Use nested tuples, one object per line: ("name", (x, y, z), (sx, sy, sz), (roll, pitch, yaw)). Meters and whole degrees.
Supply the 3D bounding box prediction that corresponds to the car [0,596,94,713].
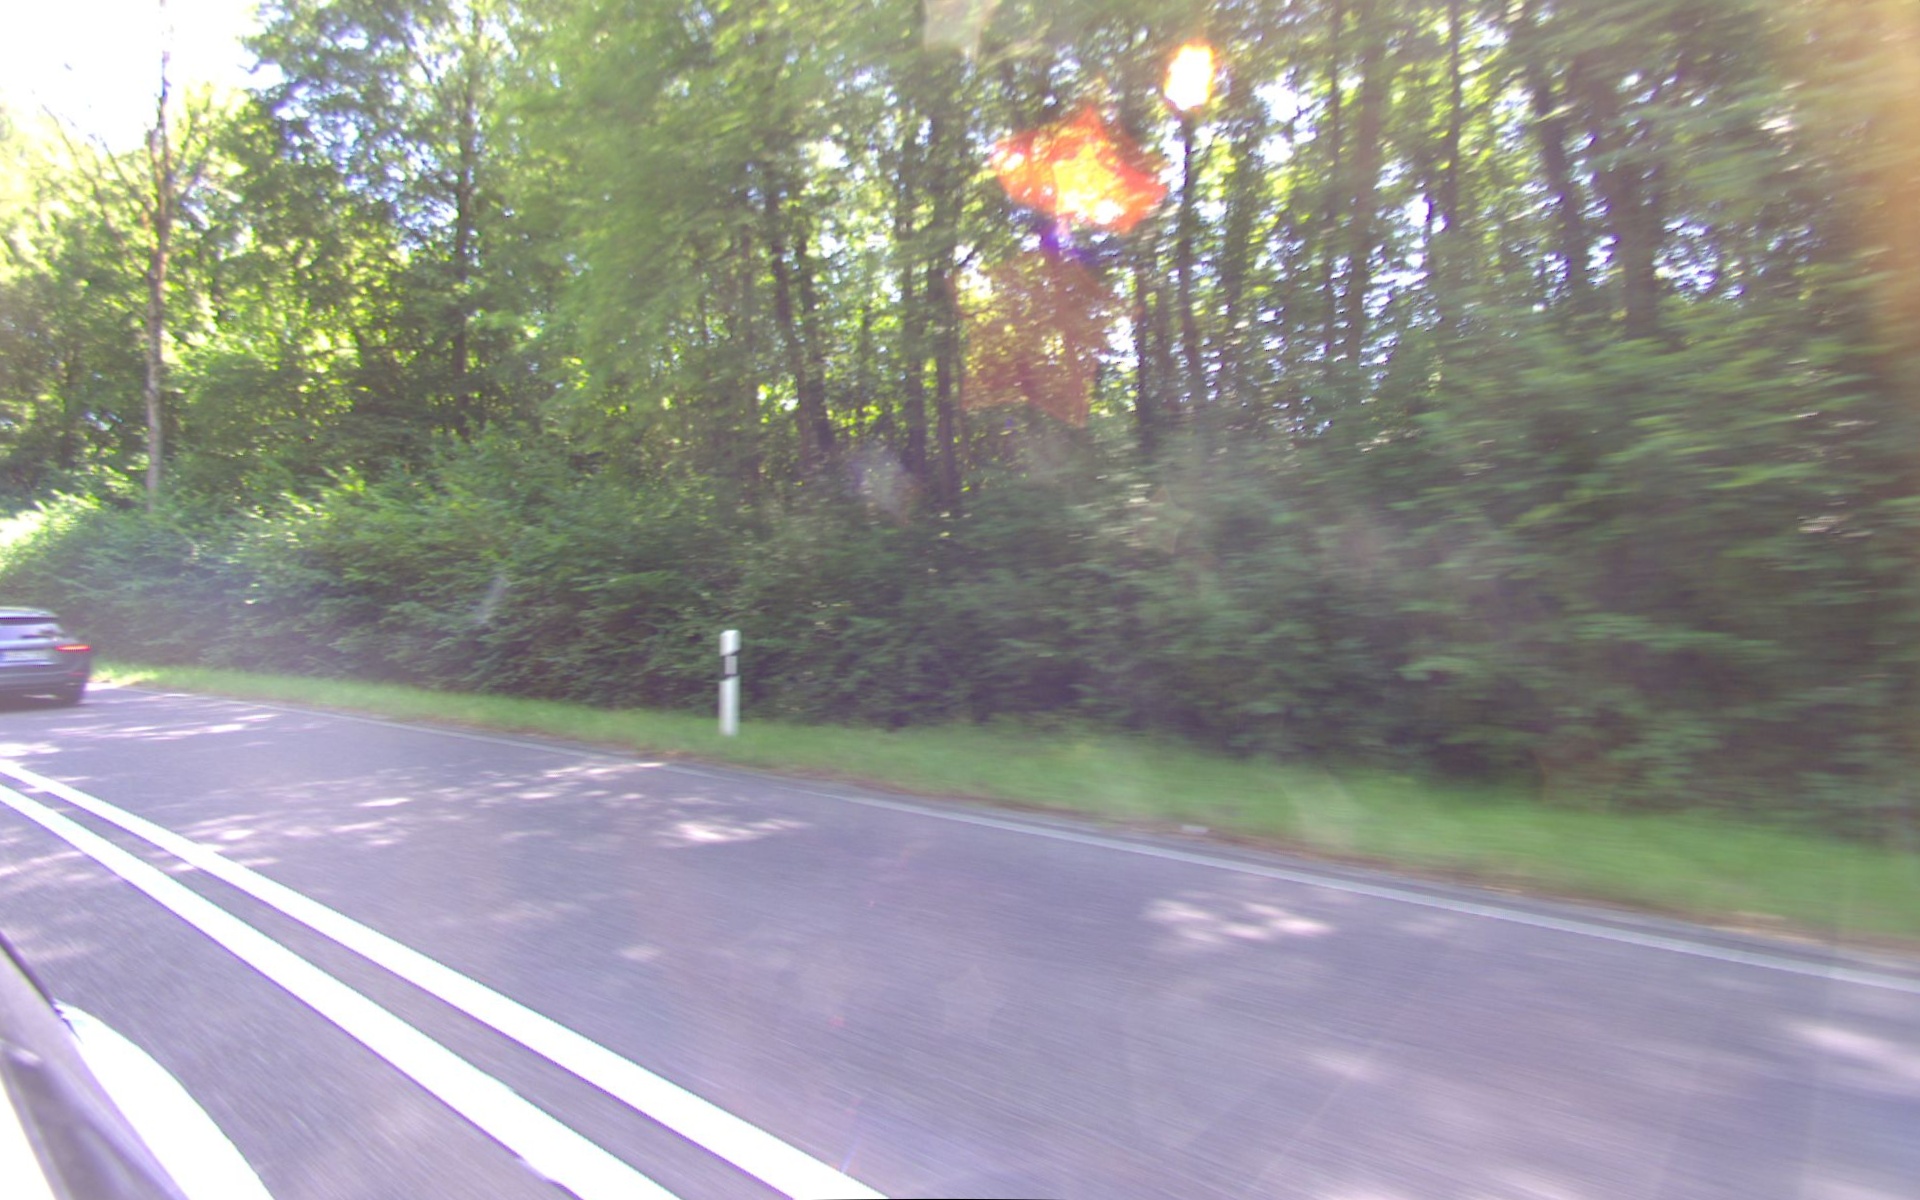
("car", (-14.660, 0.737, 14.913), (4.354, 1.586, 1.742), (0, 0, 33))
